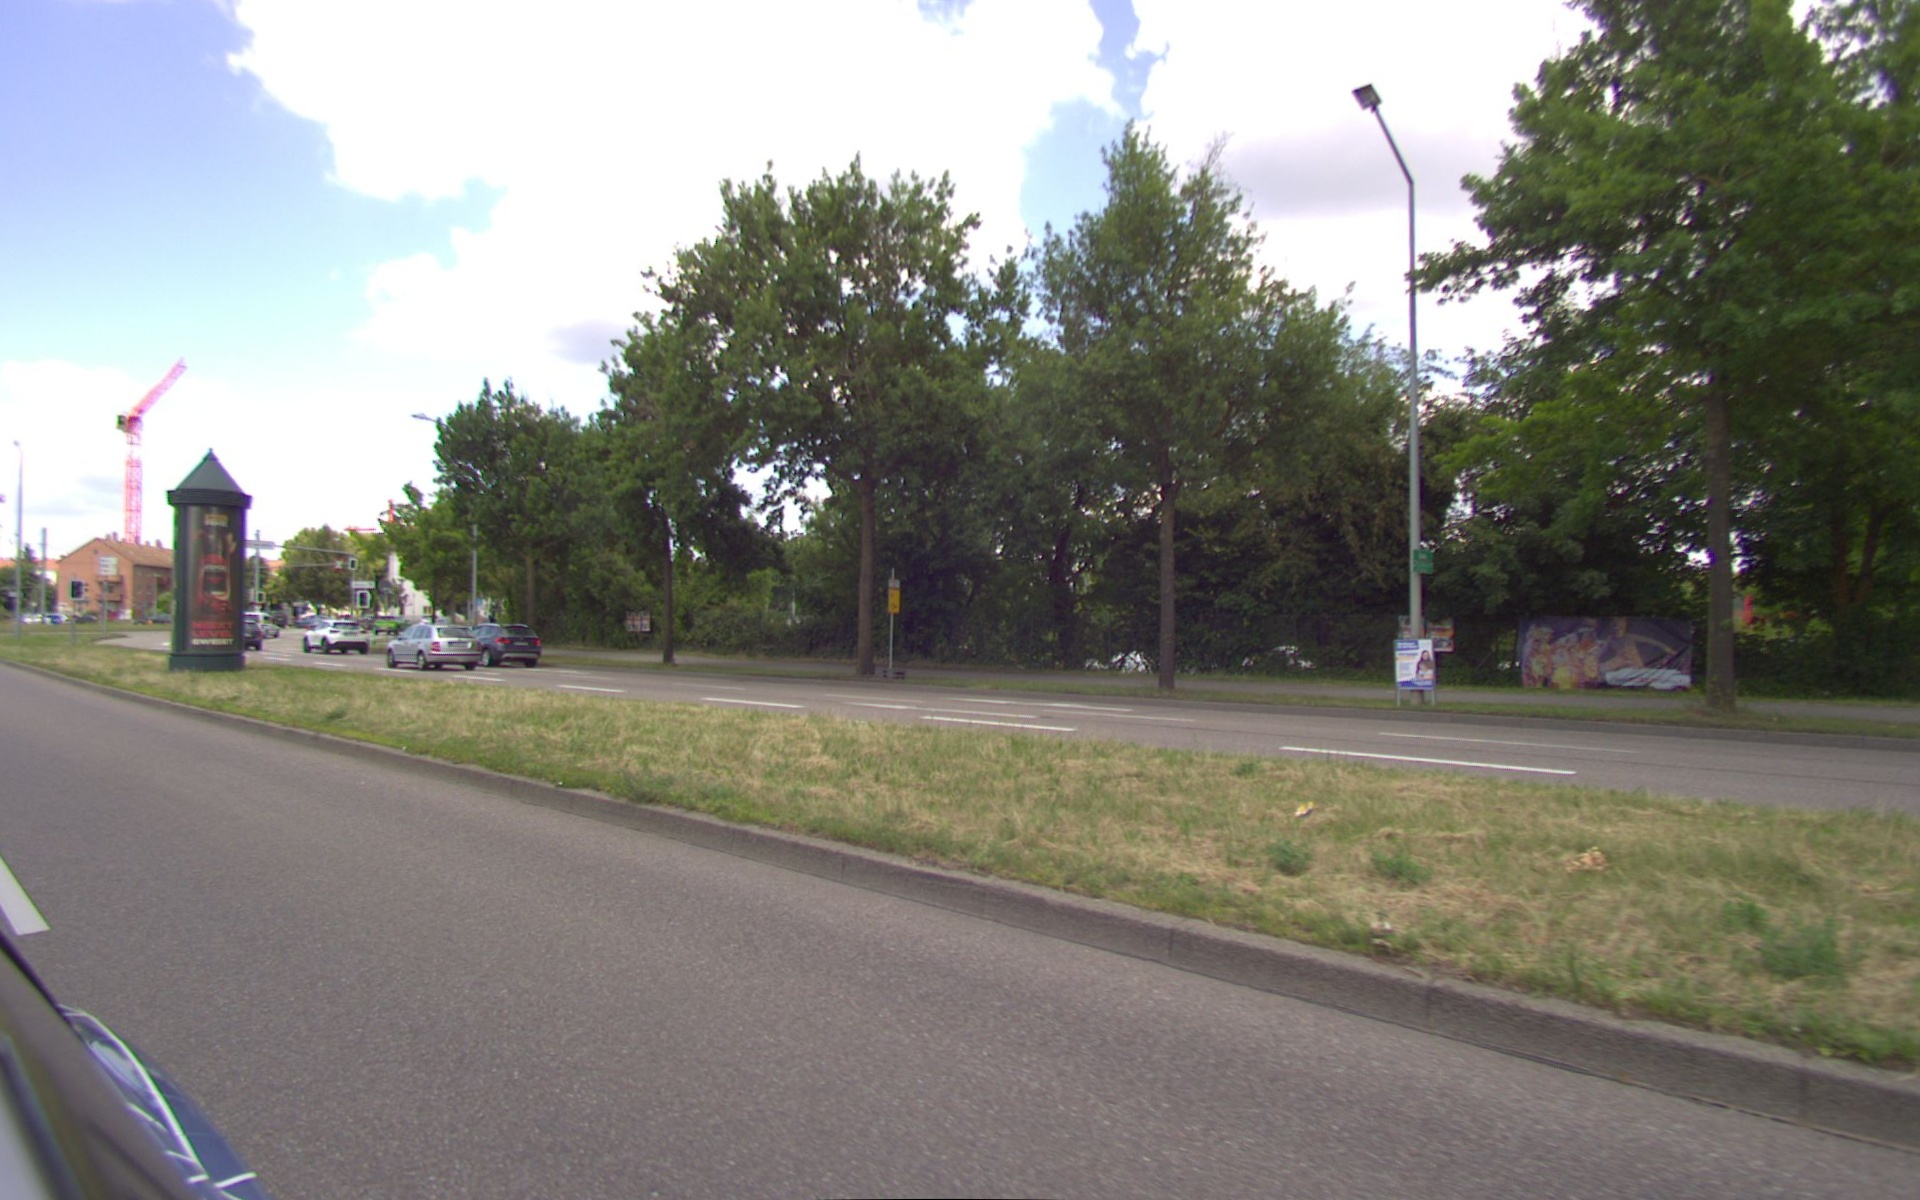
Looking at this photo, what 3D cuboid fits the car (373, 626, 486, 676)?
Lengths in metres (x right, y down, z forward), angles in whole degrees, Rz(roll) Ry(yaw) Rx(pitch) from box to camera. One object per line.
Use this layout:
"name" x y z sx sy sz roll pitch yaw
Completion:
"car" -16.836 1.570 32.039 4.308 1.451 1.744 -1 -3 42

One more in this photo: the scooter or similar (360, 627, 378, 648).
"scooter or similar" -33.505 2.131 57.378 0.534 1.175 1.441 1 -1 -44

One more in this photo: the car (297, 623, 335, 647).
"car" -42.573 2.292 66.953 1.812 1.454 4.433 3 -3 -29

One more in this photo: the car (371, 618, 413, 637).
"car" -44.892 2.199 80.083 1.594 1.358 4.180 2 -2 -11

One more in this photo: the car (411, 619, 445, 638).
"car" -48.856 2.601 93.039 1.966 1.699 4.802 0 -1 -18

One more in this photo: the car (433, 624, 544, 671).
"car" -17.104 1.669 36.586 5.029 1.589 1.745 -1 -3 41

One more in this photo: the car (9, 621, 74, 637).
"car" -93.164 2.921 102.706 4.429 1.533 2.131 0 -1 -25

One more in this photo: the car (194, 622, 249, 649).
"car" -42.649 2.032 58.402 1.817 1.491 4.756 4 -3 -45

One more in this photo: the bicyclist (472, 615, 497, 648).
"bicyclist" -23.636 1.556 50.322 0.883 1.576 0.821 -1 1 41

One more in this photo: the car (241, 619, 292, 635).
"car" -68.645 2.662 100.168 4.556 1.604 1.902 0 -1 19

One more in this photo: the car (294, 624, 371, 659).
"car" -29.270 1.903 47.161 4.366 1.552 1.890 -1 -3 41

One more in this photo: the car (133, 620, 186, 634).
"car" -83.901 2.802 106.152 3.911 1.351 1.808 2 -3 -18

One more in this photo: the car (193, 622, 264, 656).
"car" -35.499 1.862 49.083 5.011 1.603 1.704 -1 -3 42

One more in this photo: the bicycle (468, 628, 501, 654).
"bicycle" -23.663 2.021 50.363 2.016 1.228 0.753 -1 1 41
